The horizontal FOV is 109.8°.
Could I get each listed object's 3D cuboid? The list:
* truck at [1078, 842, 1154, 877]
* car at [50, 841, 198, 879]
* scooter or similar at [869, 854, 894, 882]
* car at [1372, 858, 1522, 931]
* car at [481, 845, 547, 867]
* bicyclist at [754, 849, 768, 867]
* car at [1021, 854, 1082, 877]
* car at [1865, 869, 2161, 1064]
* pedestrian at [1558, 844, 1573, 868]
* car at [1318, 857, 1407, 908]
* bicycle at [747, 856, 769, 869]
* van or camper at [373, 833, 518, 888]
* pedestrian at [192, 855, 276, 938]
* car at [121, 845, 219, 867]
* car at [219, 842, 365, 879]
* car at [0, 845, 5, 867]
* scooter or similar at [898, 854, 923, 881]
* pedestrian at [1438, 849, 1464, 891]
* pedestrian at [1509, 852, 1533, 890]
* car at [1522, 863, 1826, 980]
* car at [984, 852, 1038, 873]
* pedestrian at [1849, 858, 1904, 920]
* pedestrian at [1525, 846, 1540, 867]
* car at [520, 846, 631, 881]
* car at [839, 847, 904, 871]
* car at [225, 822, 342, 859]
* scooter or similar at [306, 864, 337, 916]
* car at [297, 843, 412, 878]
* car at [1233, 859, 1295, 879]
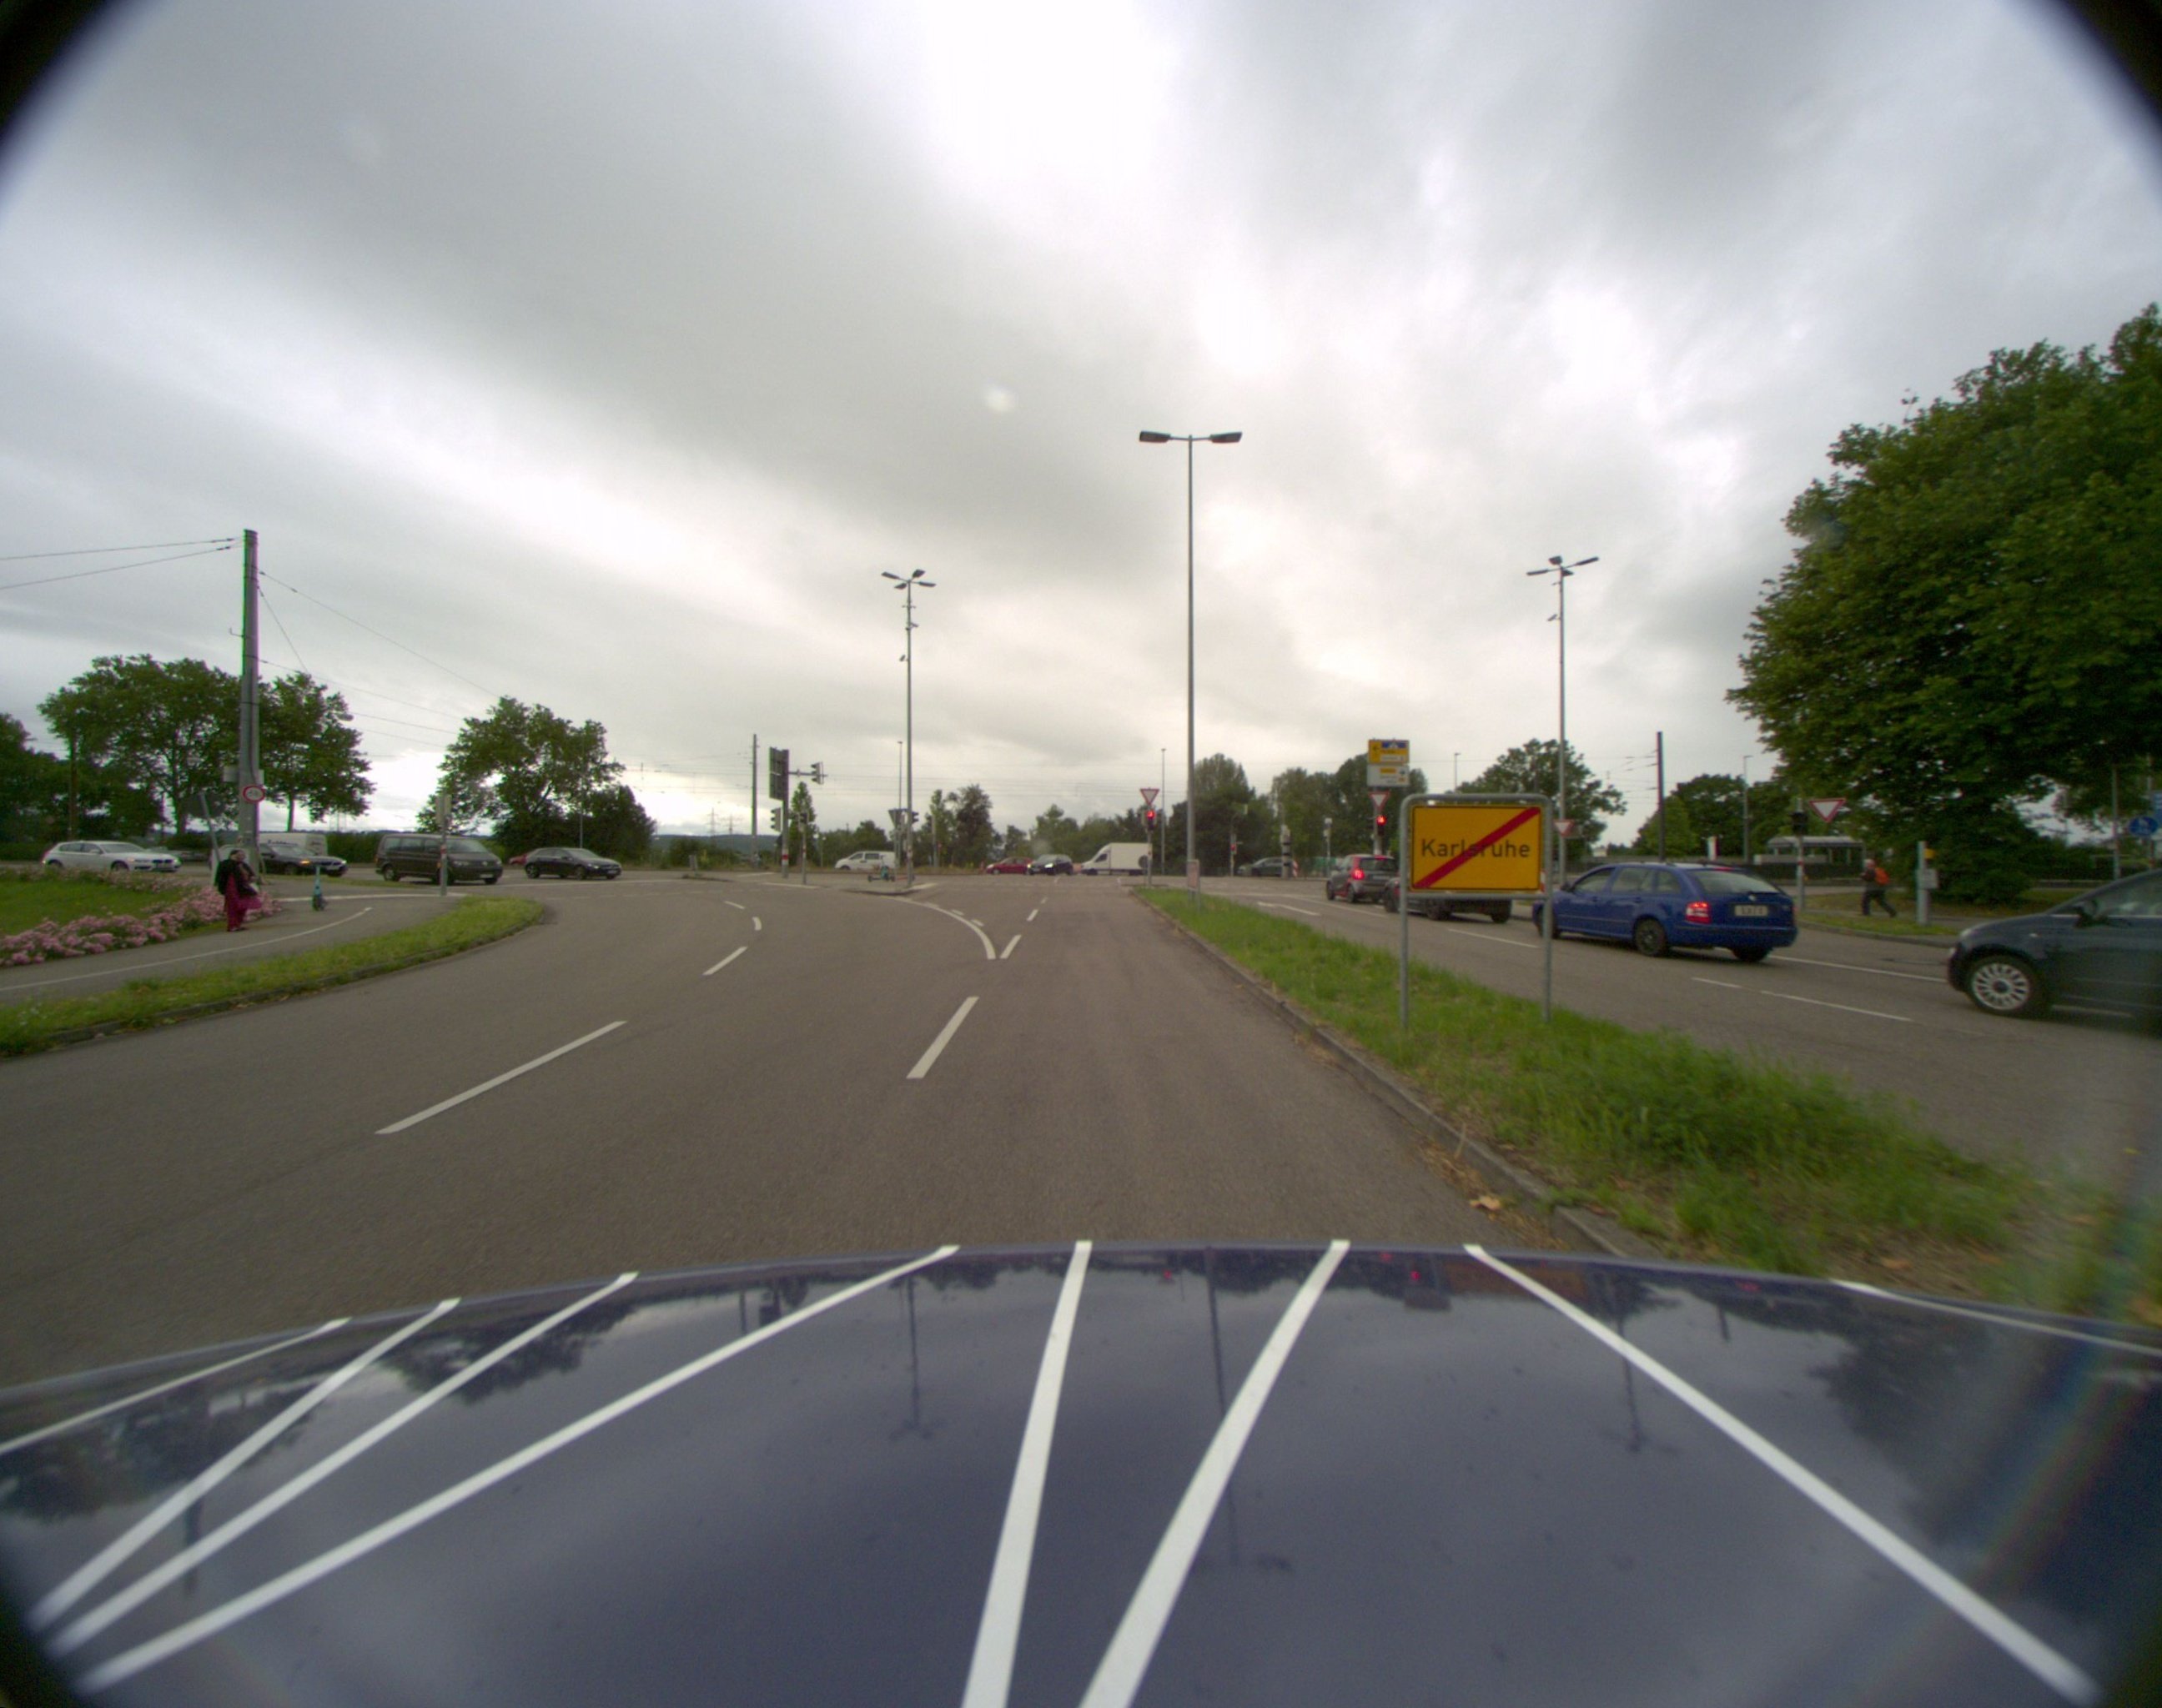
[{"bbox_3d":[3.026,0.520,67.343,6.540,2.905,2.829,0,-2,-1],"label":"truck"},{"bbox_3d":[-40.530,0.278,32.243,4.043,1.529,1.734,0,-2,0],"label":"car"},{"bbox_3d":[-9.274,0.647,35.358,1.113,1.249,0.321,1,2,14],"label":"scooter or similar"},{"bbox_3d":[8.750,0.894,18.586,1.666,1.494,4.064,2,0,0],"label":"car"},{"bbox_3d":[-44.307,0.171,59.433,3.771,1.551,1.656,1,-2,-7],"label":"car"},{"bbox_3d":[-27.540,0.351,65.363,0.968,1.445,0.691,1,2,-13],"label":"bicyclist"},{"bbox_3d":[-1.887,0.719,50.237,1.994,1.382,4.352,0,0,30],"label":"car"},{"bbox_3d":[9.177,0.903,6.077,1.606,1.489,4.037,2,-1,0],"label":"car"},{"bbox_3d":[36.205,0.145,56.784,0.586,1.731,0.788,-1,-2,2],"label":"pedestrian"},{"bbox_3d":[8.876,0.865,24.197,1.607,1.494,3.209,0,0,-1],"label":"car"},{"bbox_3d":[-27.800,0.708,65.378,1.710,1.040,0.548,1,2,-13],"label":"bicycle"},{"bbox_3d":[-25.487,0.198,30.518,4.743,2.002,2.126,1,2,16],"label":"van or camper"},{"bbox_3d":[-16.841,0.833,15.125,0.783,1.588,0.716,0,3,0],"label":"pedestrian"},{"bbox_3d":[-64.861,0.170,54.168,4.343,1.382,1.876,1,-2,-7],"label":"car"},{"bbox_3d":[-33.042,0.275,31.877,4.316,1.455,1.970,1,0,6],"label":"car"},{"bbox_3d":[-78.677,0.112,52.930,4.201,1.542,1.860,1,-2,-8],"label":"car"},{"bbox_3d":[-8.047,0.618,35.848,1.016,1.249,0.465,1,1,14],"label":"scooter or similar"},{"bbox_3d":[16.147,0.708,33.174,0.664,1.756,0.686,3,4,-2],"label":"pedestrian"},{"bbox_3d":[19.949,0.783,34.468,0.675,1.702,0.766,0,1,4],"label":"pedestrian"},{"bbox_3d":[9.125,0.931,12.229,1.606,1.436,4.143,2,0,0],"label":"car"},{"bbox_3d":[-5.711,0.694,61.775,4.250,1.641,1.783,1,-2,-11],"label":"car"},{"bbox_3d":[21.817,0.949,20.851,0.635,1.633,0.809,0,2,-2],"label":"pedestrian"},{"bbox_3d":[33.377,0.169,56.211,0.632,1.550,0.711,-1,-2,2],"label":"pedestrian"},{"bbox_3d":[-23.339,0.413,35.136,4.199,1.455,1.839,2,1,13],"label":"car"},{"bbox_3d":[-17.566,0.433,63.973,5.121,1.868,2.099,1,-2,-11],"label":"car"},{"bbox_3d":[-61.970,-1.000,59.156,5.897,2.609,2.665,1,-2,-5],"label":"car"},{"bbox_3d":[-18.749,0.875,18.759,0.347,1.226,1.162,-2,2,-38],"label":"scooter or similar"},{"bbox_3d":[-37.795,0.319,39.593,3.997,1.718,2.000,0,0,-1],"label":"car"},{"bbox_3d":[13.970,1.162,58.173,4.369,1.400,1.678,0,-2,-1],"label":"car"}]
